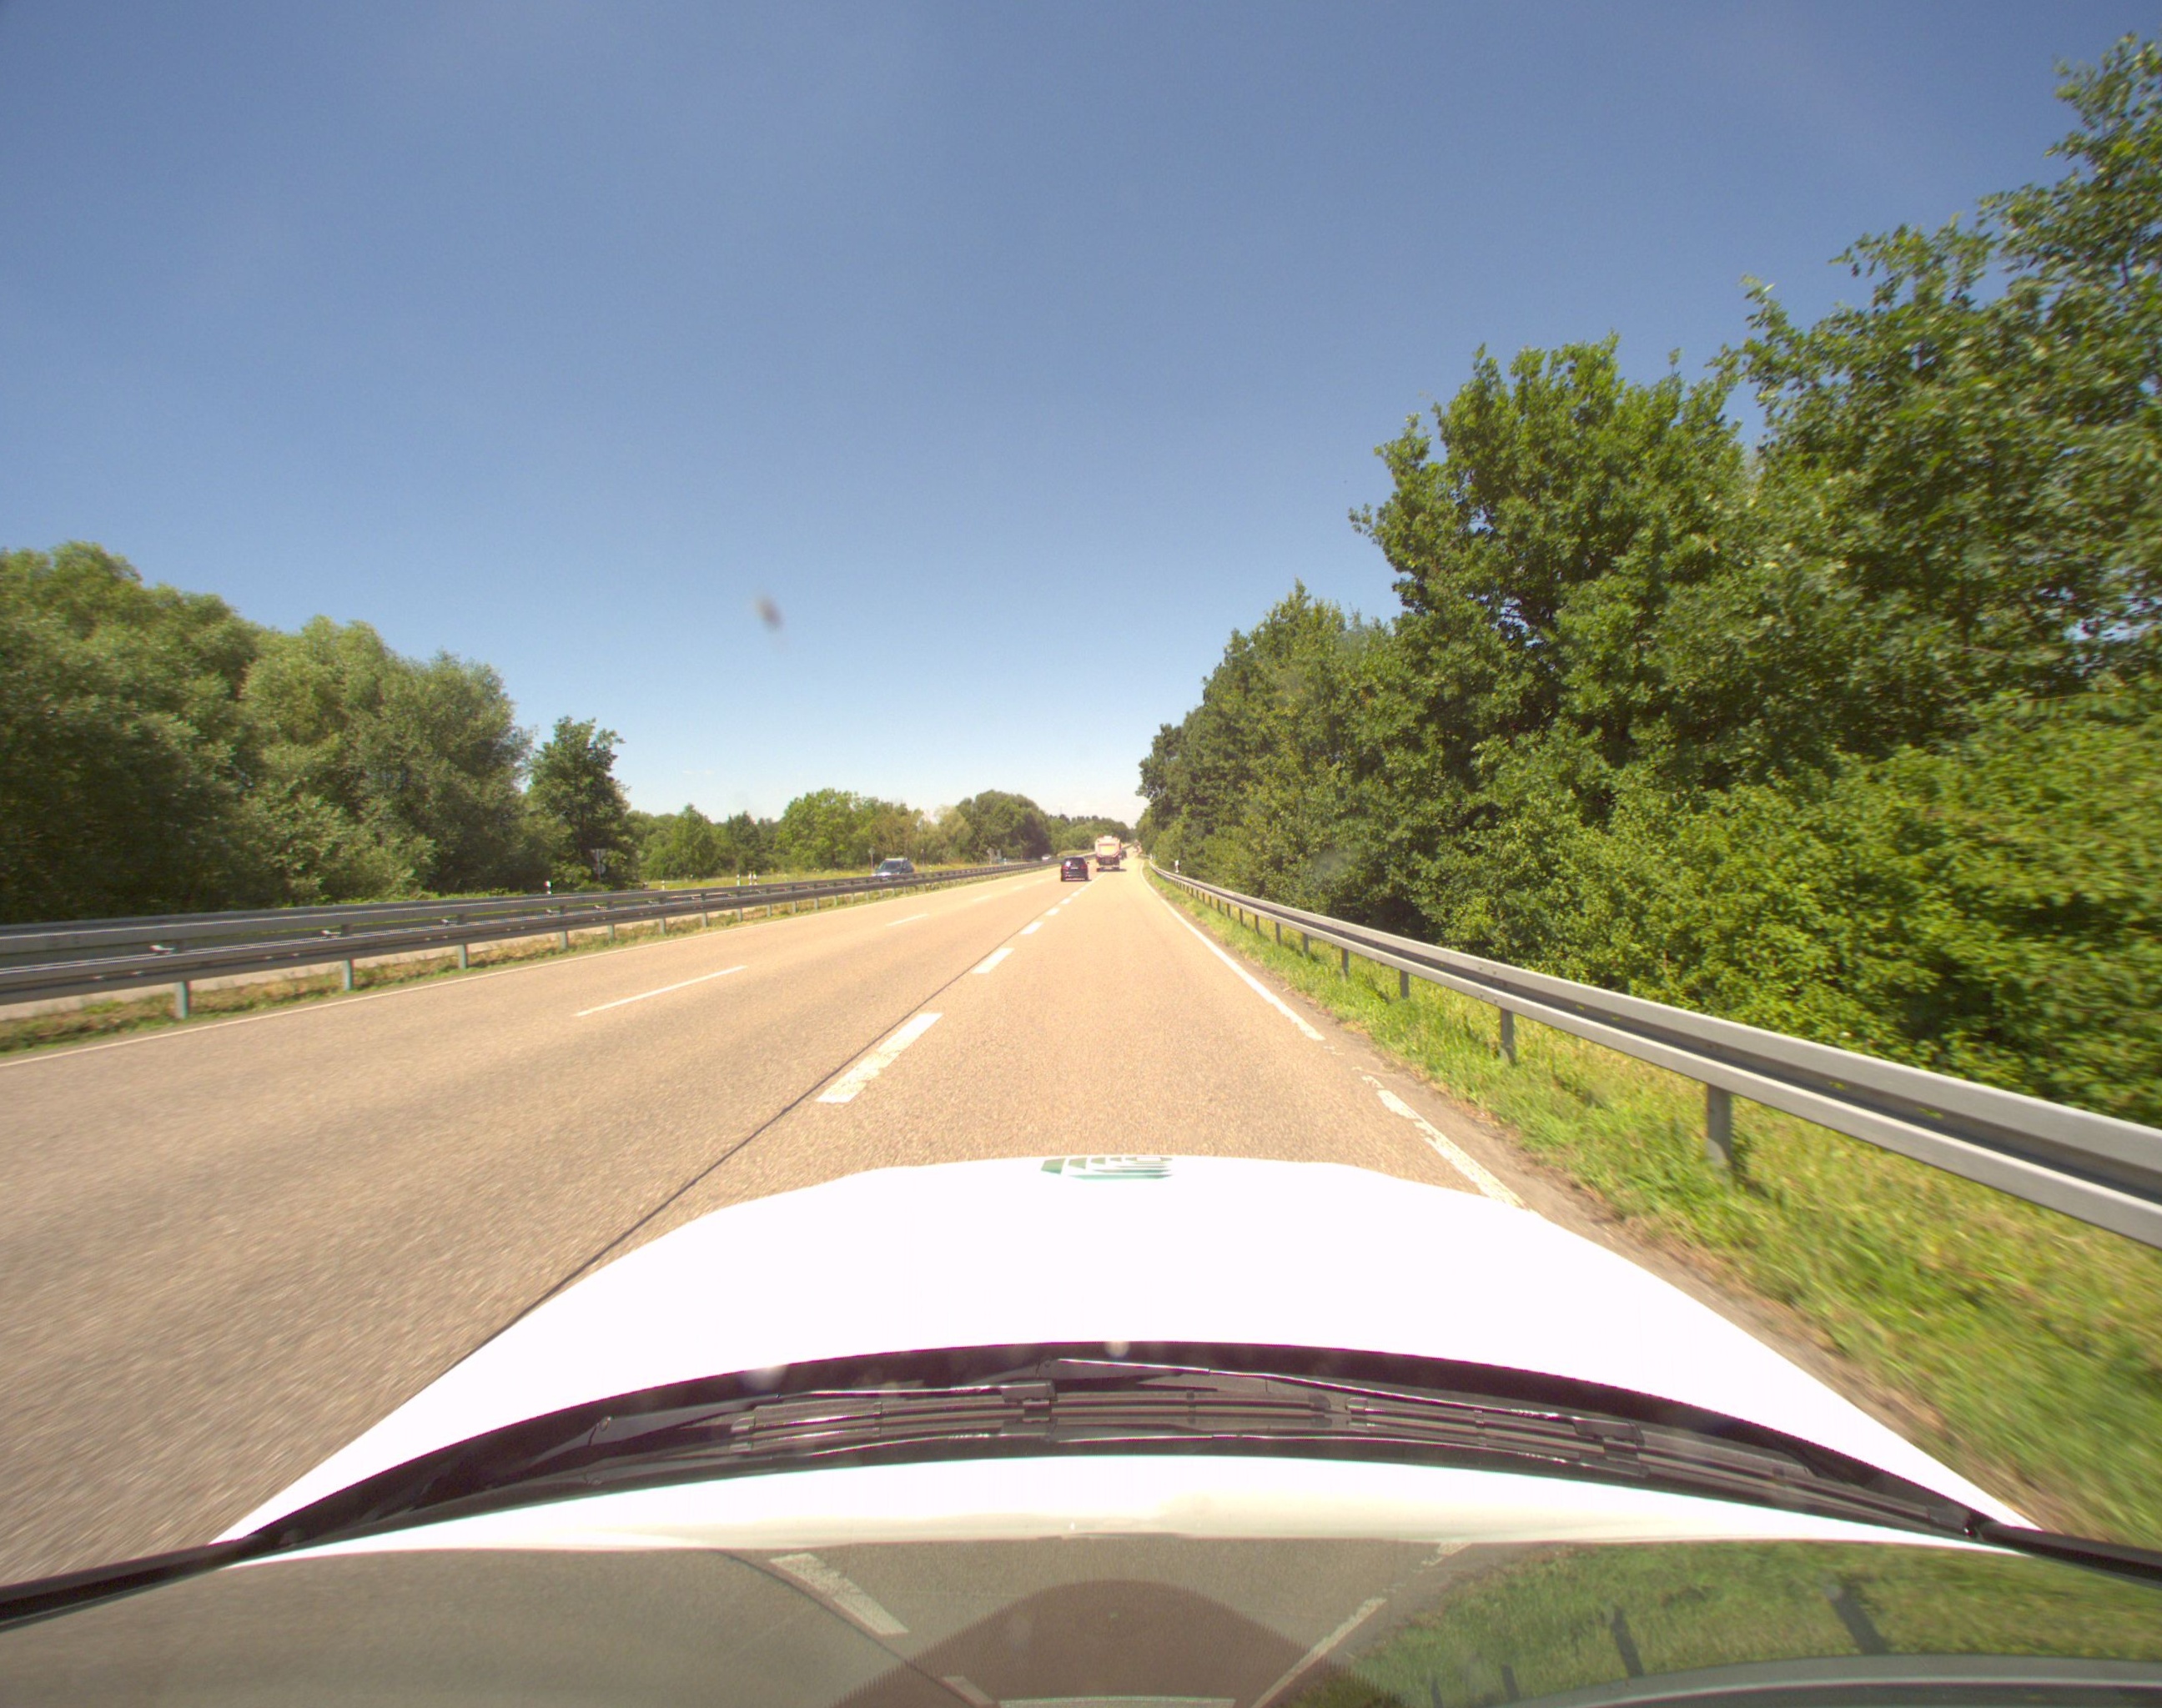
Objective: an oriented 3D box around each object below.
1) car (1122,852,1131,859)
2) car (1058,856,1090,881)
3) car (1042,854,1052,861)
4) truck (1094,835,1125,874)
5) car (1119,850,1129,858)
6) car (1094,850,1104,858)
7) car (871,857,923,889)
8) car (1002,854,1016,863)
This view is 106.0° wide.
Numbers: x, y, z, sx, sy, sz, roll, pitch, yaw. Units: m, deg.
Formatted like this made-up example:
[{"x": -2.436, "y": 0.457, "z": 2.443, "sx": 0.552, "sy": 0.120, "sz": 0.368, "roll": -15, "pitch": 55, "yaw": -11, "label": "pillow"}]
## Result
[{"x": 10.376, "y": 0.366, "z": 185.460, "sx": 1.849, "sy": 1.671, "sz": 4.005, "roll": -1, "pitch": -1, "yaw": 5, "label": "car"}, {"x": -0.446, "y": 0.976, "z": 57.300, "sx": 1.849, "sy": 1.671, "sz": 4.005, "roll": -1, "pitch": -1, "yaw": 5, "label": "car"}, {"x": -7.786, "y": 0.845, "z": 186.622, "sx": 1.716, "sy": 1.645, "sz": 4.949, "roll": -1, "pitch": 0, "yaw": 4, "label": "car"}, {"x": 3.242, "y": -0.107, "z": 89.724, "sx": 2.707, "sy": 3.929, "sz": 12.388, "roll": -2, "pitch": 1, "yaw": 5, "label": "truck"}, {"x": 8.826, "y": -0.026, "z": 167.615, "sx": 1.849, "sy": 1.671, "sz": 4.005, "roll": -1, "pitch": -1, "yaw": 5, "label": "car"}, {"x": 3.759, "y": -0.011, "z": 166.863, "sx": 1.849, "sy": 1.671, "sz": 4.005, "roll": -1, "pitch": -1, "yaw": 5, "label": "car"}, {"x": -11.356, "y": 1.141, "z": 50.579, "sx": 1.854, "sy": 1.830, "sz": 4.665, "roll": -1, "pitch": -1, "yaw": 4, "label": "car"}, {"x": -12.105, "y": 0.739, "z": 137.385, "sx": 1.912, "sy": 1.489, "sz": 3.998, "roll": -1, "pitch": -1, "yaw": -1, "label": "car"}]
